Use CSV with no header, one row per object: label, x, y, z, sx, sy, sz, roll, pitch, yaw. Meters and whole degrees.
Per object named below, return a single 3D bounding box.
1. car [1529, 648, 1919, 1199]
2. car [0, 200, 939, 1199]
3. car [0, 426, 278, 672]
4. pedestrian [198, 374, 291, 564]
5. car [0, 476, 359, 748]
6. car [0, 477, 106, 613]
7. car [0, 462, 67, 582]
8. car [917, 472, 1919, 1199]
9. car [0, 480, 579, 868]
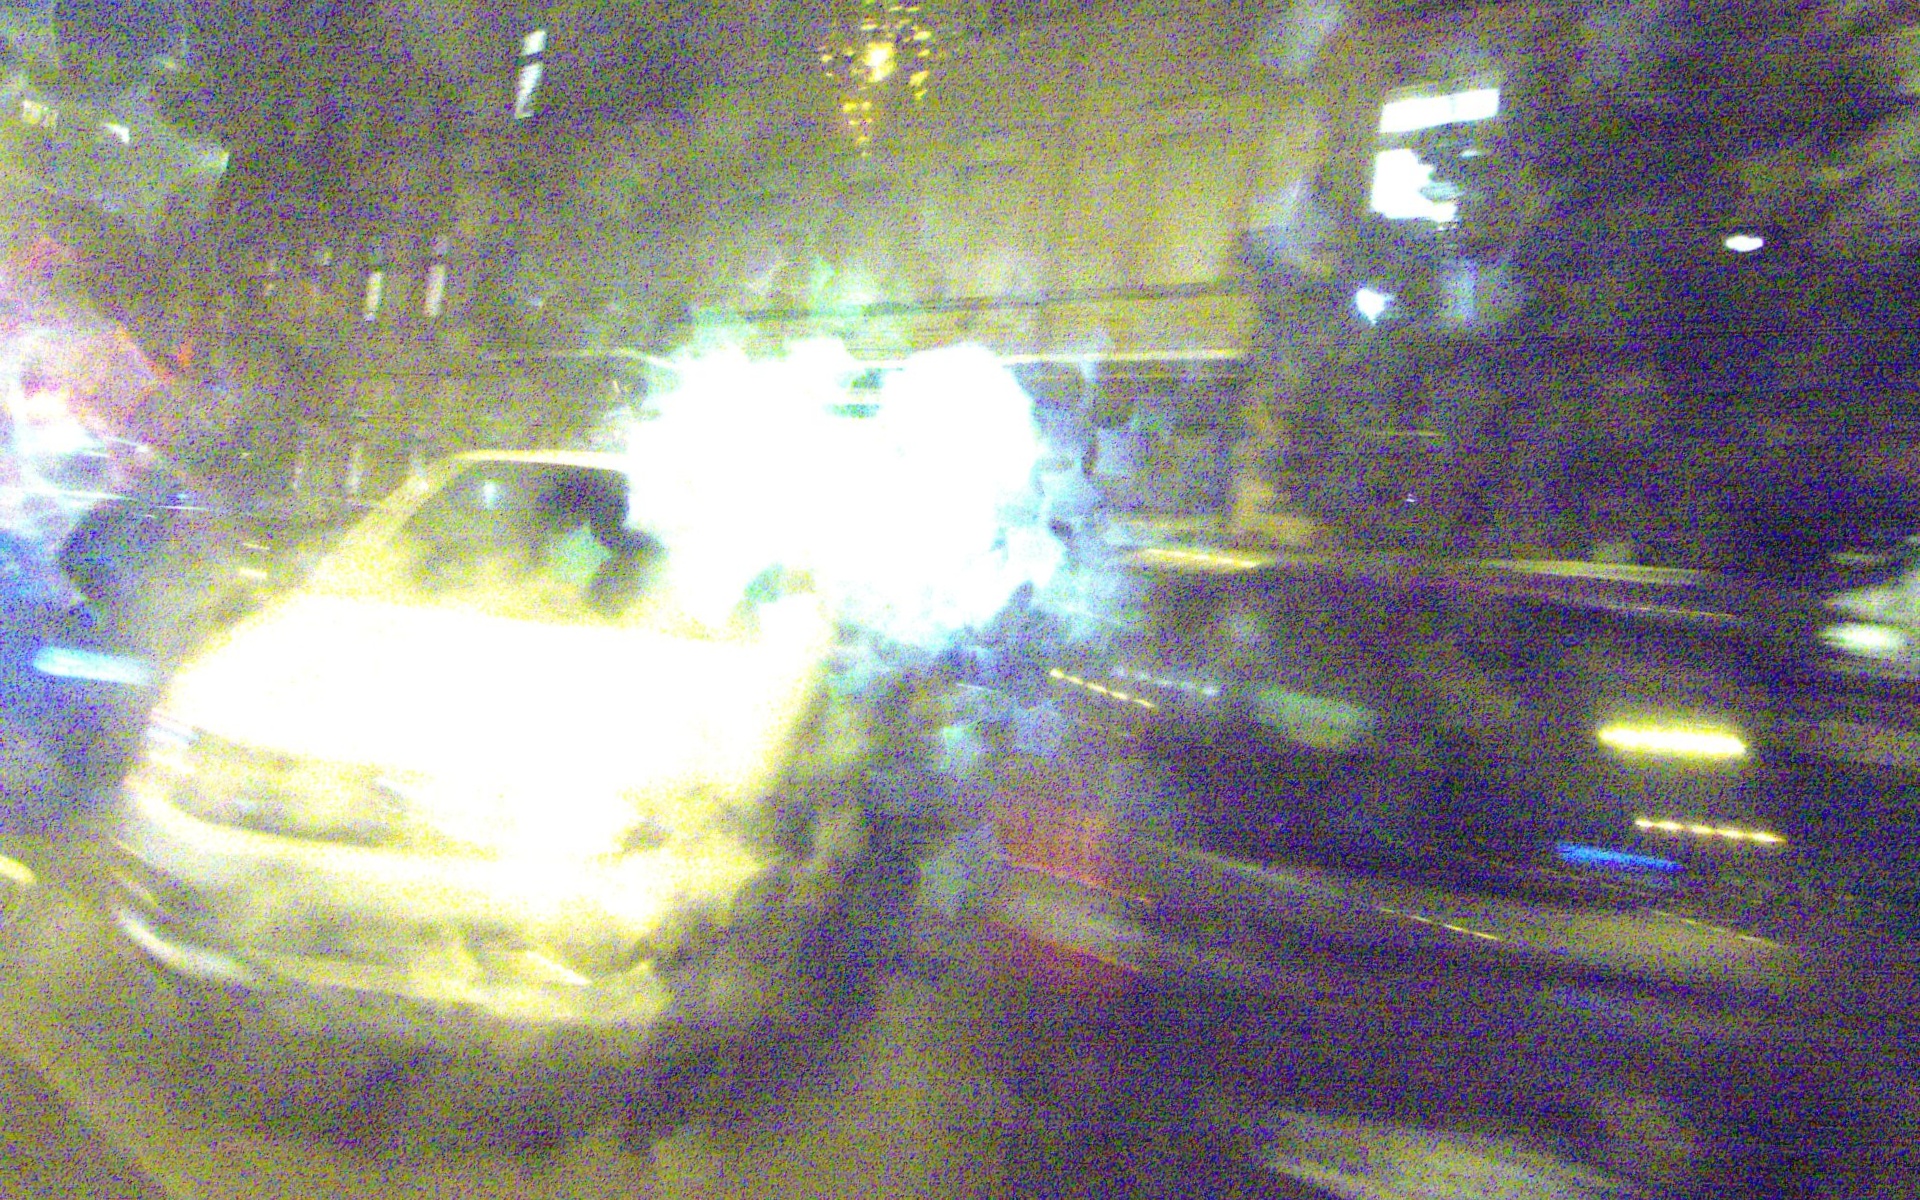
car,3.101,1.062,1.891,1.702,1.512,3.998,6,1,1
car,-1.338,0.275,4.731,2.028,2.073,4.801,8,0,1
car,-8.223,-0.508,9.060,1.695,1.864,3.744,6,1,-5
pedestrian,-14.104,-2.565,19.844,0.778,3.570,0.893,8,0,31
car,-6.244,-0.056,7.280,1.695,1.503,3.561,6,1,-4
car,-11.169,-0.669,10.412,1.642,1.472,3.561,6,1,-3
car,-13.802,-1.121,12.536,1.847,1.608,3.994,7,2,-4
car,0.863,0.722,3.457,1.615,1.733,3.564,6,1,3
car,-3.708,0.268,5.959,1.423,1.514,3.512,6,1,0
